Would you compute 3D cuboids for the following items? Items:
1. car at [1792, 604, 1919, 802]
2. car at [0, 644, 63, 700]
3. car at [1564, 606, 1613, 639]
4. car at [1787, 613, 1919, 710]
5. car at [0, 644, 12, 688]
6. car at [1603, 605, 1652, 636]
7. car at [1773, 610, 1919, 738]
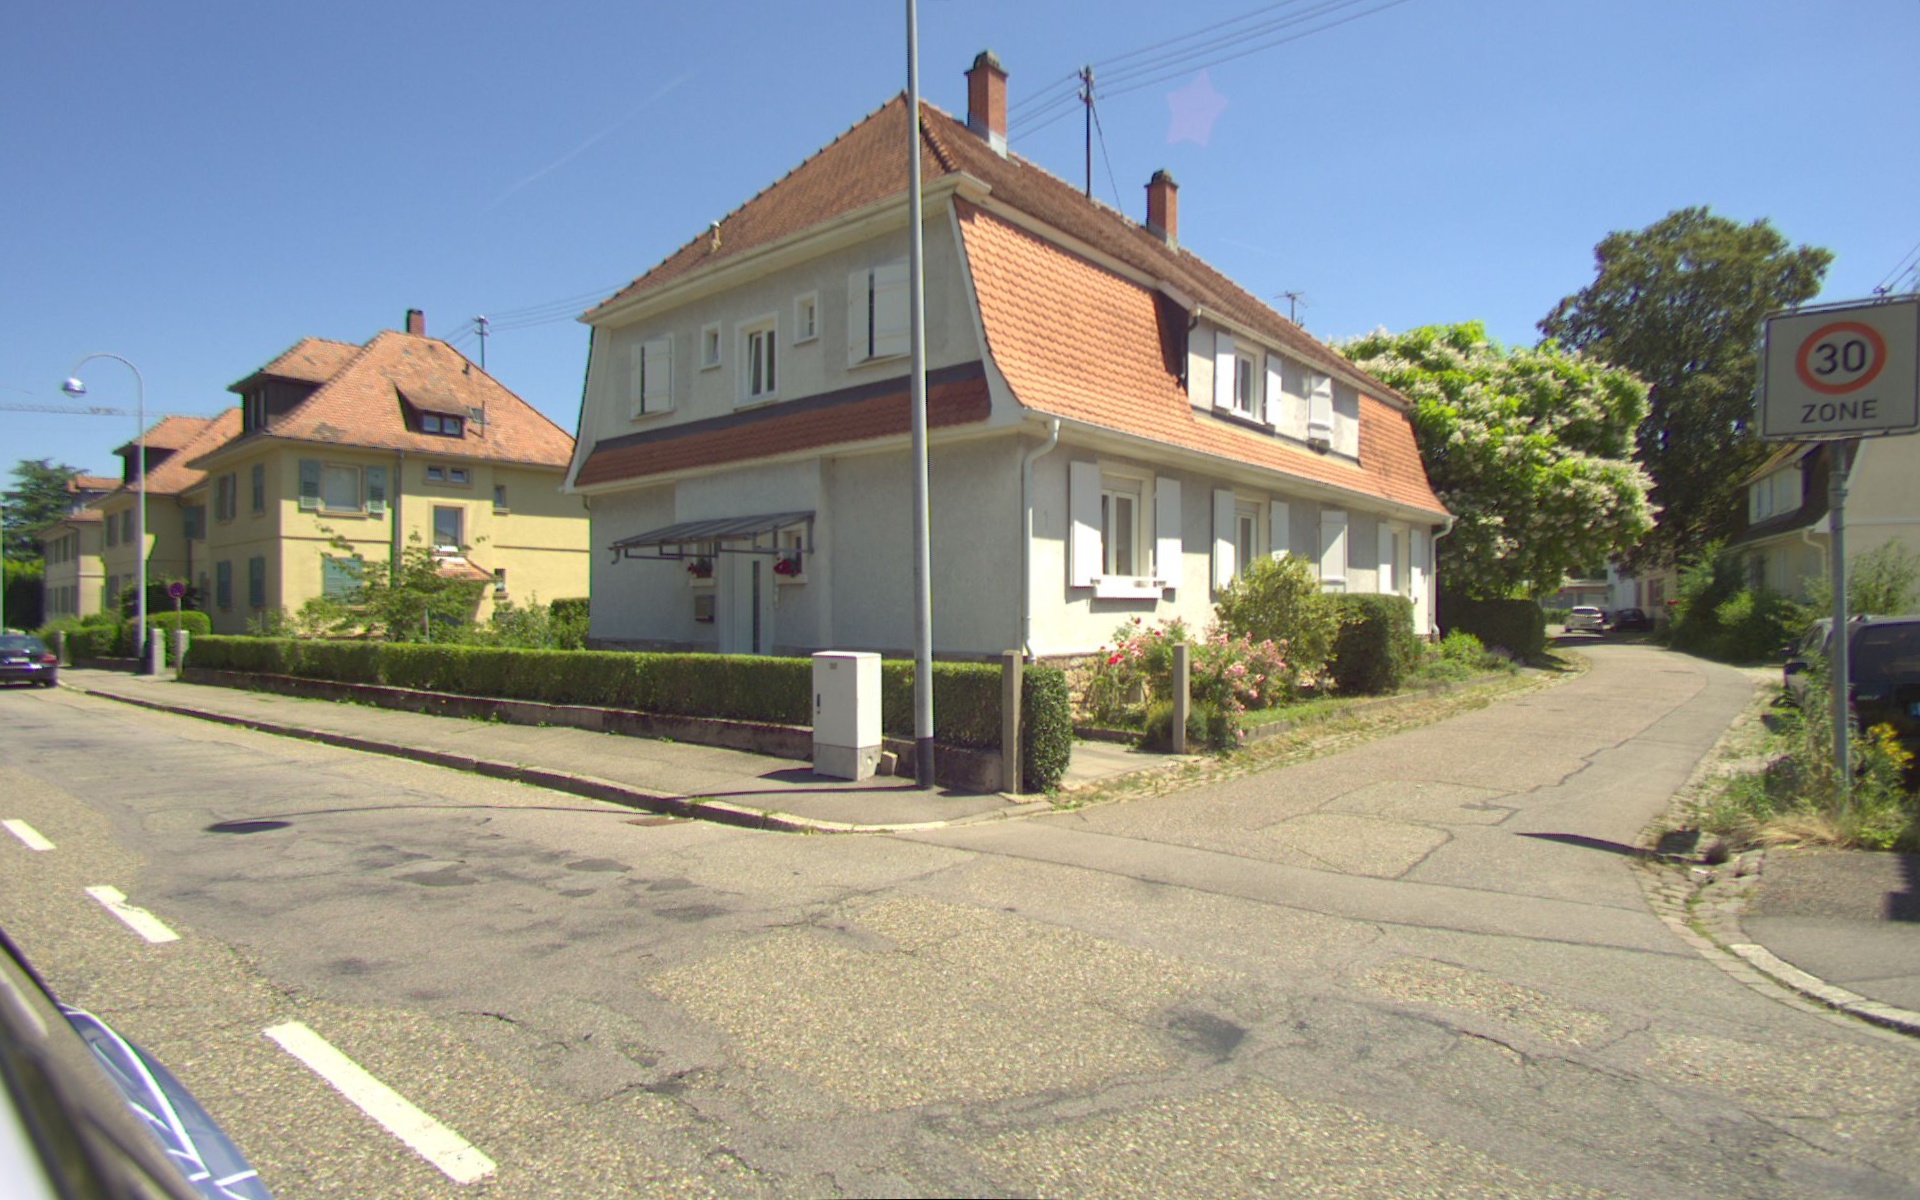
[{"bbox_3d":[8.393,0.776,8.611,1.772,1.435,3.756,-3,-3,37],"label":"car"},{"bbox_3d":[-25.434,1.877,27.010,3.998,1.409,1.731,-2,-4,42],"label":"car"},{"bbox_3d":[35.249,1.250,56.845,1.991,1.696,3.962,-2,0,28],"label":"car"},{"bbox_3d":[15.058,0.955,16.912,1.772,1.435,3.754,-2,-2,38],"label":"car"},{"bbox_3d":[-32.437,2.163,33.187,4.000,1.409,1.730,-3,-3,43],"label":"car"},{"bbox_3d":[40.038,1.196,60.757,1.991,1.696,3.962,-2,0,28],"label":"car"},{"bbox_3d":[12.133,0.887,13.358,1.770,1.452,3.760,-2,-1,33],"label":"car"}]
